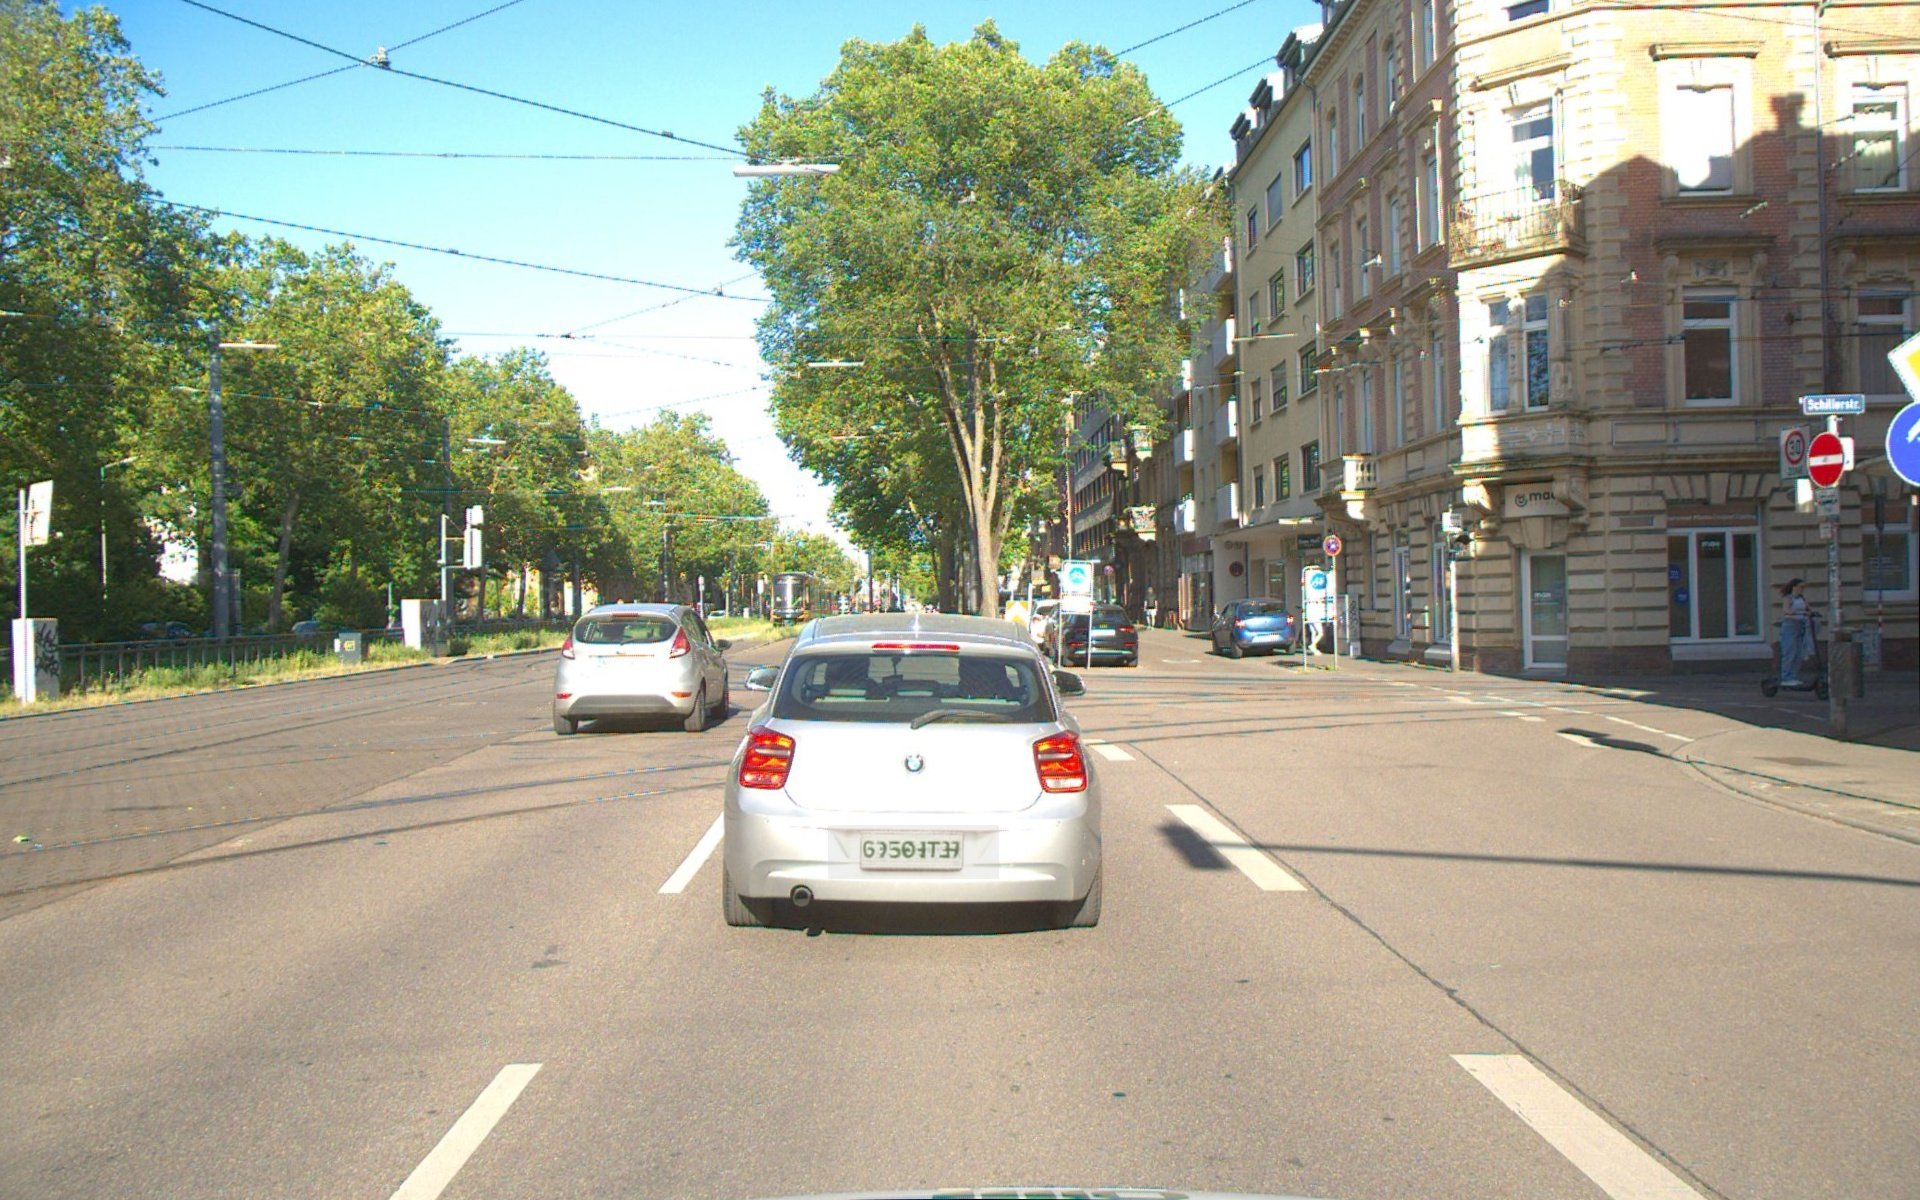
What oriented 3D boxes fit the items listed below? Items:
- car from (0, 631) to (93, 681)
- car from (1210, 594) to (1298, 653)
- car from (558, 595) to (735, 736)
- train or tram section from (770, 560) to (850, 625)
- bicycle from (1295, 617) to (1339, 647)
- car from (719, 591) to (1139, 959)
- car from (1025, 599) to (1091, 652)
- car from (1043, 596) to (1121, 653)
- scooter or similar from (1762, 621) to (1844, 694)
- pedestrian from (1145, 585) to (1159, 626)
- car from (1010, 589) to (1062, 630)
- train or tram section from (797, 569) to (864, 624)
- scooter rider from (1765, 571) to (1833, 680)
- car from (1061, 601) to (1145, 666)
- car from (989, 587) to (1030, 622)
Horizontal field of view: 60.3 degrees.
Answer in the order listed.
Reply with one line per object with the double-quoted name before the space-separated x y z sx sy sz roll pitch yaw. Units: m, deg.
"car" -30.119 1.786 53.603 1.897 1.536 4.277 -1 -1 -2
"car" 7.997 0.613 45.198 1.700 1.546 3.635 0 0 -1
"car" -3.655 0.703 19.856 1.577 1.493 3.887 -1 0 -3
"train or tram section" -9.884 -0.477 111.432 3.888 3.933 17.486 -1 0 0
"bicycle" 9.793 0.867 45.460 0.739 0.784 1.944 -1 0 -2
"car" -0.141 0.715 8.773 1.704 1.493 3.999 1 0 -1
"car" 2.952 0.744 50.422 1.690 1.533 3.554 0 0 -2
"car" 3.233 0.618 44.320 1.708 1.458 3.554 0 0 -2
"scooter or similar" 12.081 0.811 23.736 0.331 1.005 1.281 -1 0 -10
"pedestrian" 8.682 0.262 74.966 0.495 1.833 0.805 -1 0 -1
"car" 2.876 0.350 63.148 1.690 1.533 3.554 0 0 -2
"train or tram section" -9.947 -0.264 129.104 3.923 3.933 17.486 -1 0 0
"scooter rider" 12.042 0.360 23.750 0.457 1.531 0.809 -1 0 -11
"car" 3.349 0.760 39.362 1.700 1.458 3.678 0 0 0
"car" 2.250 0.197 75.782 1.690 1.533 3.554 0 0 -2
